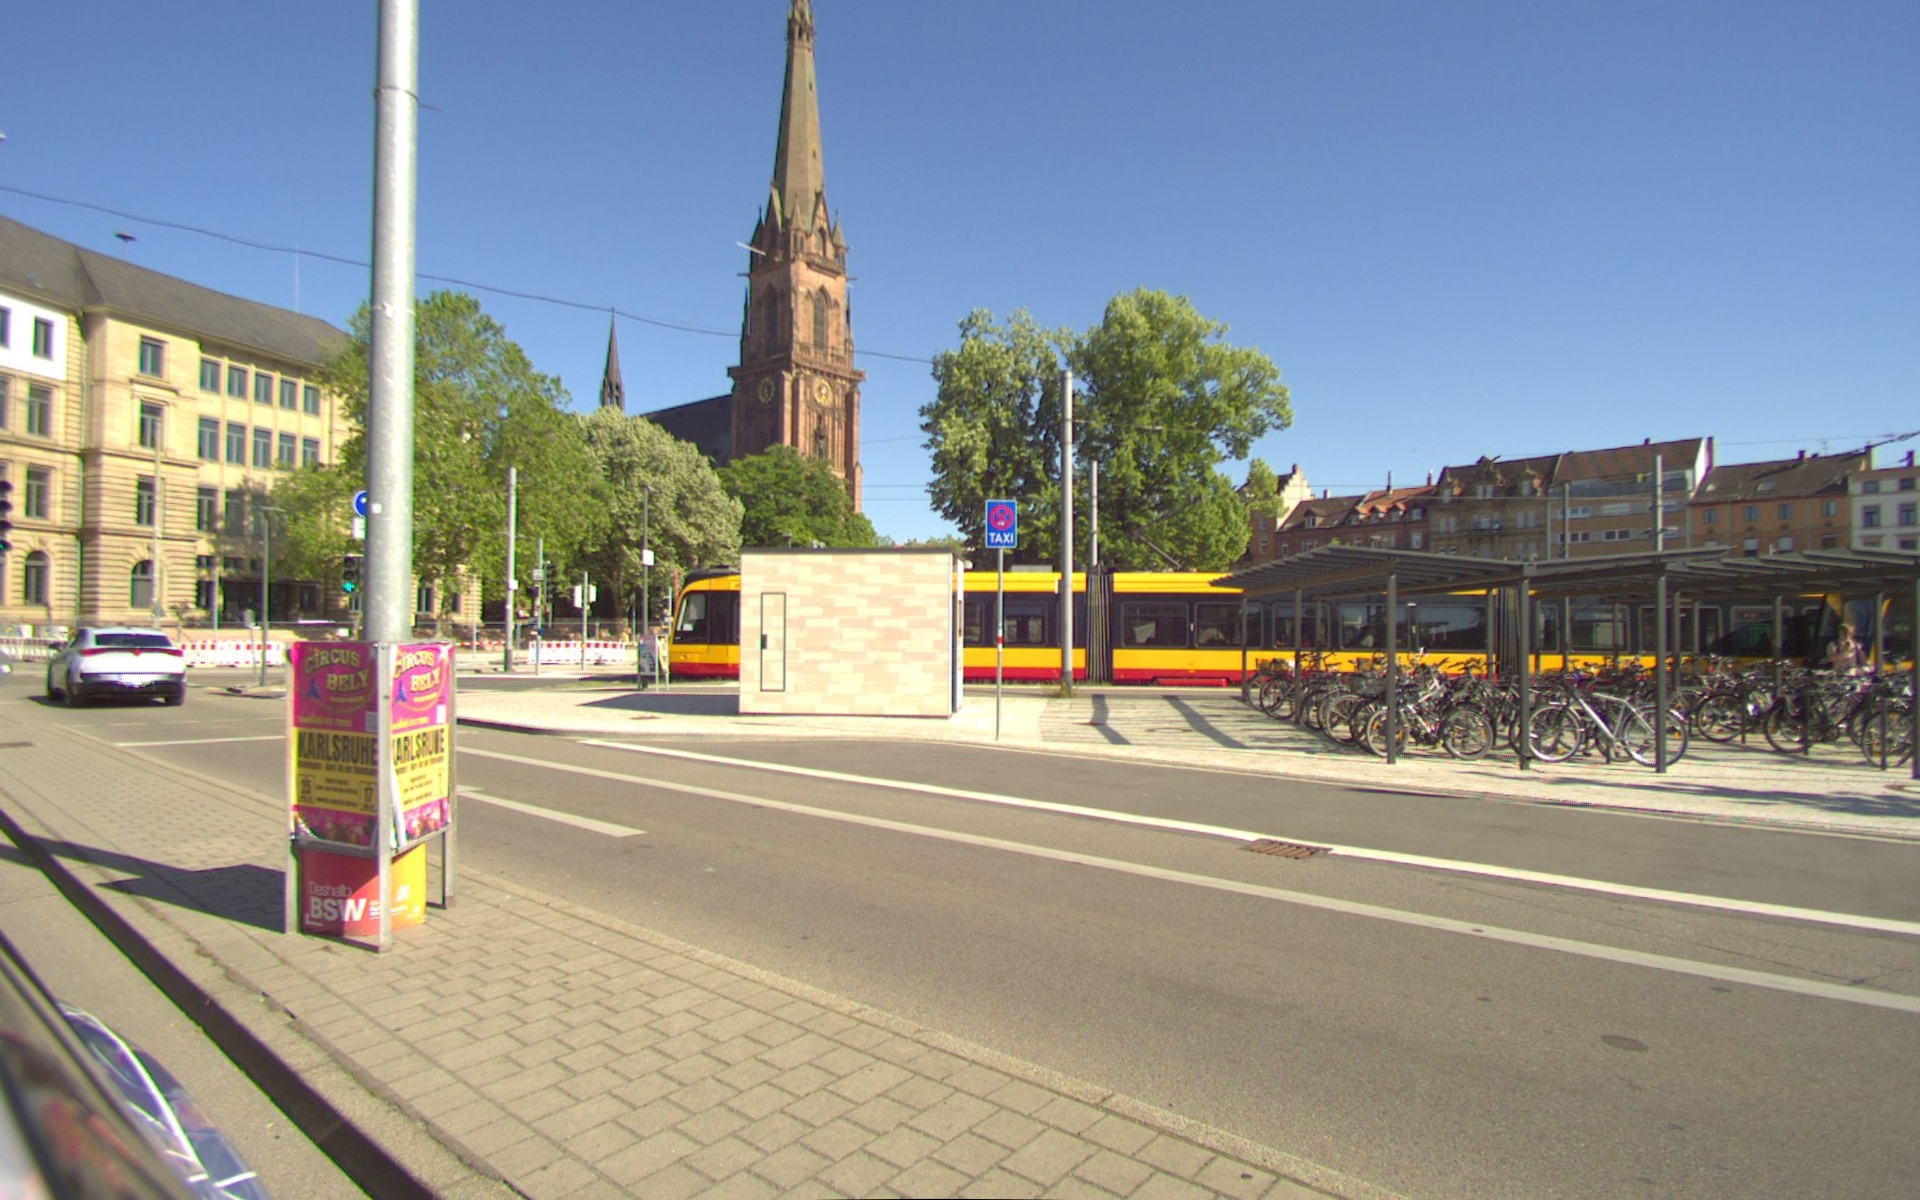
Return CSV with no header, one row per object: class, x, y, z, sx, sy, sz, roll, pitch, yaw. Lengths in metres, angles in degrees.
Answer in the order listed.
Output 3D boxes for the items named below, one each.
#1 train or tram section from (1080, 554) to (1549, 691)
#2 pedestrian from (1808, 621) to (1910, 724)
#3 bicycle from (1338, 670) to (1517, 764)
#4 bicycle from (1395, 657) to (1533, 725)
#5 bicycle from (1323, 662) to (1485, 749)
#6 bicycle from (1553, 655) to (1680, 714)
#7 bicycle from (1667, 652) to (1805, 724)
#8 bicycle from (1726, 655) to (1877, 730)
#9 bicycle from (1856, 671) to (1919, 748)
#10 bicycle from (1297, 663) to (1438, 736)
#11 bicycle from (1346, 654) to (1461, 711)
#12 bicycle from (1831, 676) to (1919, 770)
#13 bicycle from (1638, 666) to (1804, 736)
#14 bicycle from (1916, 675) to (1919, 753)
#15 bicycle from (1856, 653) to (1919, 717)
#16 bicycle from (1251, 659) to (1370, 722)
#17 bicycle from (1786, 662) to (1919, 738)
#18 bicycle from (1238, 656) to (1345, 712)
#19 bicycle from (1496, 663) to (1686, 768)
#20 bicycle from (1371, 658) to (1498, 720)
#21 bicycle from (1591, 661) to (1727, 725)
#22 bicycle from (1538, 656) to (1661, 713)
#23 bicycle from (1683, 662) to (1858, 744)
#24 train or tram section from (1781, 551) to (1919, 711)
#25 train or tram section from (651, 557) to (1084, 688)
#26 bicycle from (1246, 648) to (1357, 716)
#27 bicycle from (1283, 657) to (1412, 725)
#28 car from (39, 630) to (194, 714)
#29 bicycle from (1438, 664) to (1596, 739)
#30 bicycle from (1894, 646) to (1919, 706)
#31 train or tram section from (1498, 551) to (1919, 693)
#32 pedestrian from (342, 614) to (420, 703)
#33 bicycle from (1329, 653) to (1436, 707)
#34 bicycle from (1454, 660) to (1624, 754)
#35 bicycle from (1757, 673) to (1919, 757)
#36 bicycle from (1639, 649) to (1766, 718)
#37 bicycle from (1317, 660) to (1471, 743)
train or tram section,9.589,0.648,28.760,12.173,3.629,2.797,0,-2,6
pedestrian,15.509,1.225,17.491,0.829,1.718,1.022,0,-2,7
bicycle,5.658,1.401,12.335,1.847,1.015,0.699,1,-2,8
bicycle,7.860,1.413,15.840,1.808,1.015,0.627,0,-2,6
bicycle,5.764,1.356,13.214,1.809,1.074,0.627,0,-2,8
bicycle,11.737,1.495,18.129,1.807,1.015,0.628,0,-2,4
bicycle,13.548,1.526,17.709,1.808,1.198,0.647,0,-2,6
bicycle,13.737,1.502,16.560,1.808,1.170,0.627,0,-2,6
bicycle,13.644,1.503,14.001,1.808,1.015,0.627,0,-2,6
bicycle,5.998,1.454,14.963,1.809,1.015,0.627,0,-2,8
bicycle,8.123,1.507,18.603,1.808,1.015,0.627,0,-2,6
bicycle,11.634,1.445,11.996,1.871,1.050,0.688,0,-2,8
bicycle,11.583,1.534,15.448,1.978,1.015,0.628,0,-2,3
bicycle,13.570,1.484,12.907,2.003,1.015,0.627,0,-2,6
bicycle,17.615,1.540,18.461,1.809,1.140,0.627,0,-2,8
bicycle,5.912,1.512,17.150,1.809,1.015,0.627,0,-2,8
bicycle,13.709,1.502,15.294,1.808,1.088,0.627,0,-2,6
bicycle,6.230,1.571,19.095,1.809,1.015,0.627,0,-2,8
bicycle,7.520,1.359,12.122,1.808,1.167,0.627,0,-2,6
bicycle,8.000,1.492,17.116,1.808,1.015,0.627,0,-2,6
bicycle,11.594,1.531,16.823,1.804,1.015,0.629,0,-2,-1
bicycle,11.863,1.560,18.818,1.808,1.015,0.627,0,-2,6
bicycle,11.517,1.455,14.427,1.859,1.101,0.626,0,-2,8
train or tram section,26.977,0.721,23.824,12.177,3.629,2.748,0,-2,7
train or tram section,-2.627,0.680,29.961,12.381,3.629,2.797,0,-2,6
bicycle,6.176,1.467,18.395,1.809,1.188,0.627,0,-2,8
bicycle,6.142,1.434,16.120,1.809,1.015,0.627,0,-2,8
car,-17.432,1.417,20.849,4.335,1.564,1.822,-2,-4,42
bicycle,7.960,1.437,14.533,1.808,1.015,0.745,0,-2,6
bicycle,17.306,1.304,17.363,1.809,1.015,0.627,0,-2,8
train or tram section,21.700,0.622,27.574,12.173,3.629,2.828,0,-2,6
pedestrian,-12.542,1.247,21.958,0.826,1.870,1.215,-1,-2,35
bicycle,8.238,1.563,19.804,1.808,1.015,0.627,0,-2,6
bicycle,7.557,1.381,13.265,1.808,1.157,0.627,0,-2,6
bicycle,11.502,1.479,13.148,1.731,1.015,0.547,0,-2,10
bicycle,13.847,1.542,18.909,1.808,1.242,0.627,0,-2,6
bicycle,5.857,1.362,13.743,1.809,1.059,0.571,0,-2,8
